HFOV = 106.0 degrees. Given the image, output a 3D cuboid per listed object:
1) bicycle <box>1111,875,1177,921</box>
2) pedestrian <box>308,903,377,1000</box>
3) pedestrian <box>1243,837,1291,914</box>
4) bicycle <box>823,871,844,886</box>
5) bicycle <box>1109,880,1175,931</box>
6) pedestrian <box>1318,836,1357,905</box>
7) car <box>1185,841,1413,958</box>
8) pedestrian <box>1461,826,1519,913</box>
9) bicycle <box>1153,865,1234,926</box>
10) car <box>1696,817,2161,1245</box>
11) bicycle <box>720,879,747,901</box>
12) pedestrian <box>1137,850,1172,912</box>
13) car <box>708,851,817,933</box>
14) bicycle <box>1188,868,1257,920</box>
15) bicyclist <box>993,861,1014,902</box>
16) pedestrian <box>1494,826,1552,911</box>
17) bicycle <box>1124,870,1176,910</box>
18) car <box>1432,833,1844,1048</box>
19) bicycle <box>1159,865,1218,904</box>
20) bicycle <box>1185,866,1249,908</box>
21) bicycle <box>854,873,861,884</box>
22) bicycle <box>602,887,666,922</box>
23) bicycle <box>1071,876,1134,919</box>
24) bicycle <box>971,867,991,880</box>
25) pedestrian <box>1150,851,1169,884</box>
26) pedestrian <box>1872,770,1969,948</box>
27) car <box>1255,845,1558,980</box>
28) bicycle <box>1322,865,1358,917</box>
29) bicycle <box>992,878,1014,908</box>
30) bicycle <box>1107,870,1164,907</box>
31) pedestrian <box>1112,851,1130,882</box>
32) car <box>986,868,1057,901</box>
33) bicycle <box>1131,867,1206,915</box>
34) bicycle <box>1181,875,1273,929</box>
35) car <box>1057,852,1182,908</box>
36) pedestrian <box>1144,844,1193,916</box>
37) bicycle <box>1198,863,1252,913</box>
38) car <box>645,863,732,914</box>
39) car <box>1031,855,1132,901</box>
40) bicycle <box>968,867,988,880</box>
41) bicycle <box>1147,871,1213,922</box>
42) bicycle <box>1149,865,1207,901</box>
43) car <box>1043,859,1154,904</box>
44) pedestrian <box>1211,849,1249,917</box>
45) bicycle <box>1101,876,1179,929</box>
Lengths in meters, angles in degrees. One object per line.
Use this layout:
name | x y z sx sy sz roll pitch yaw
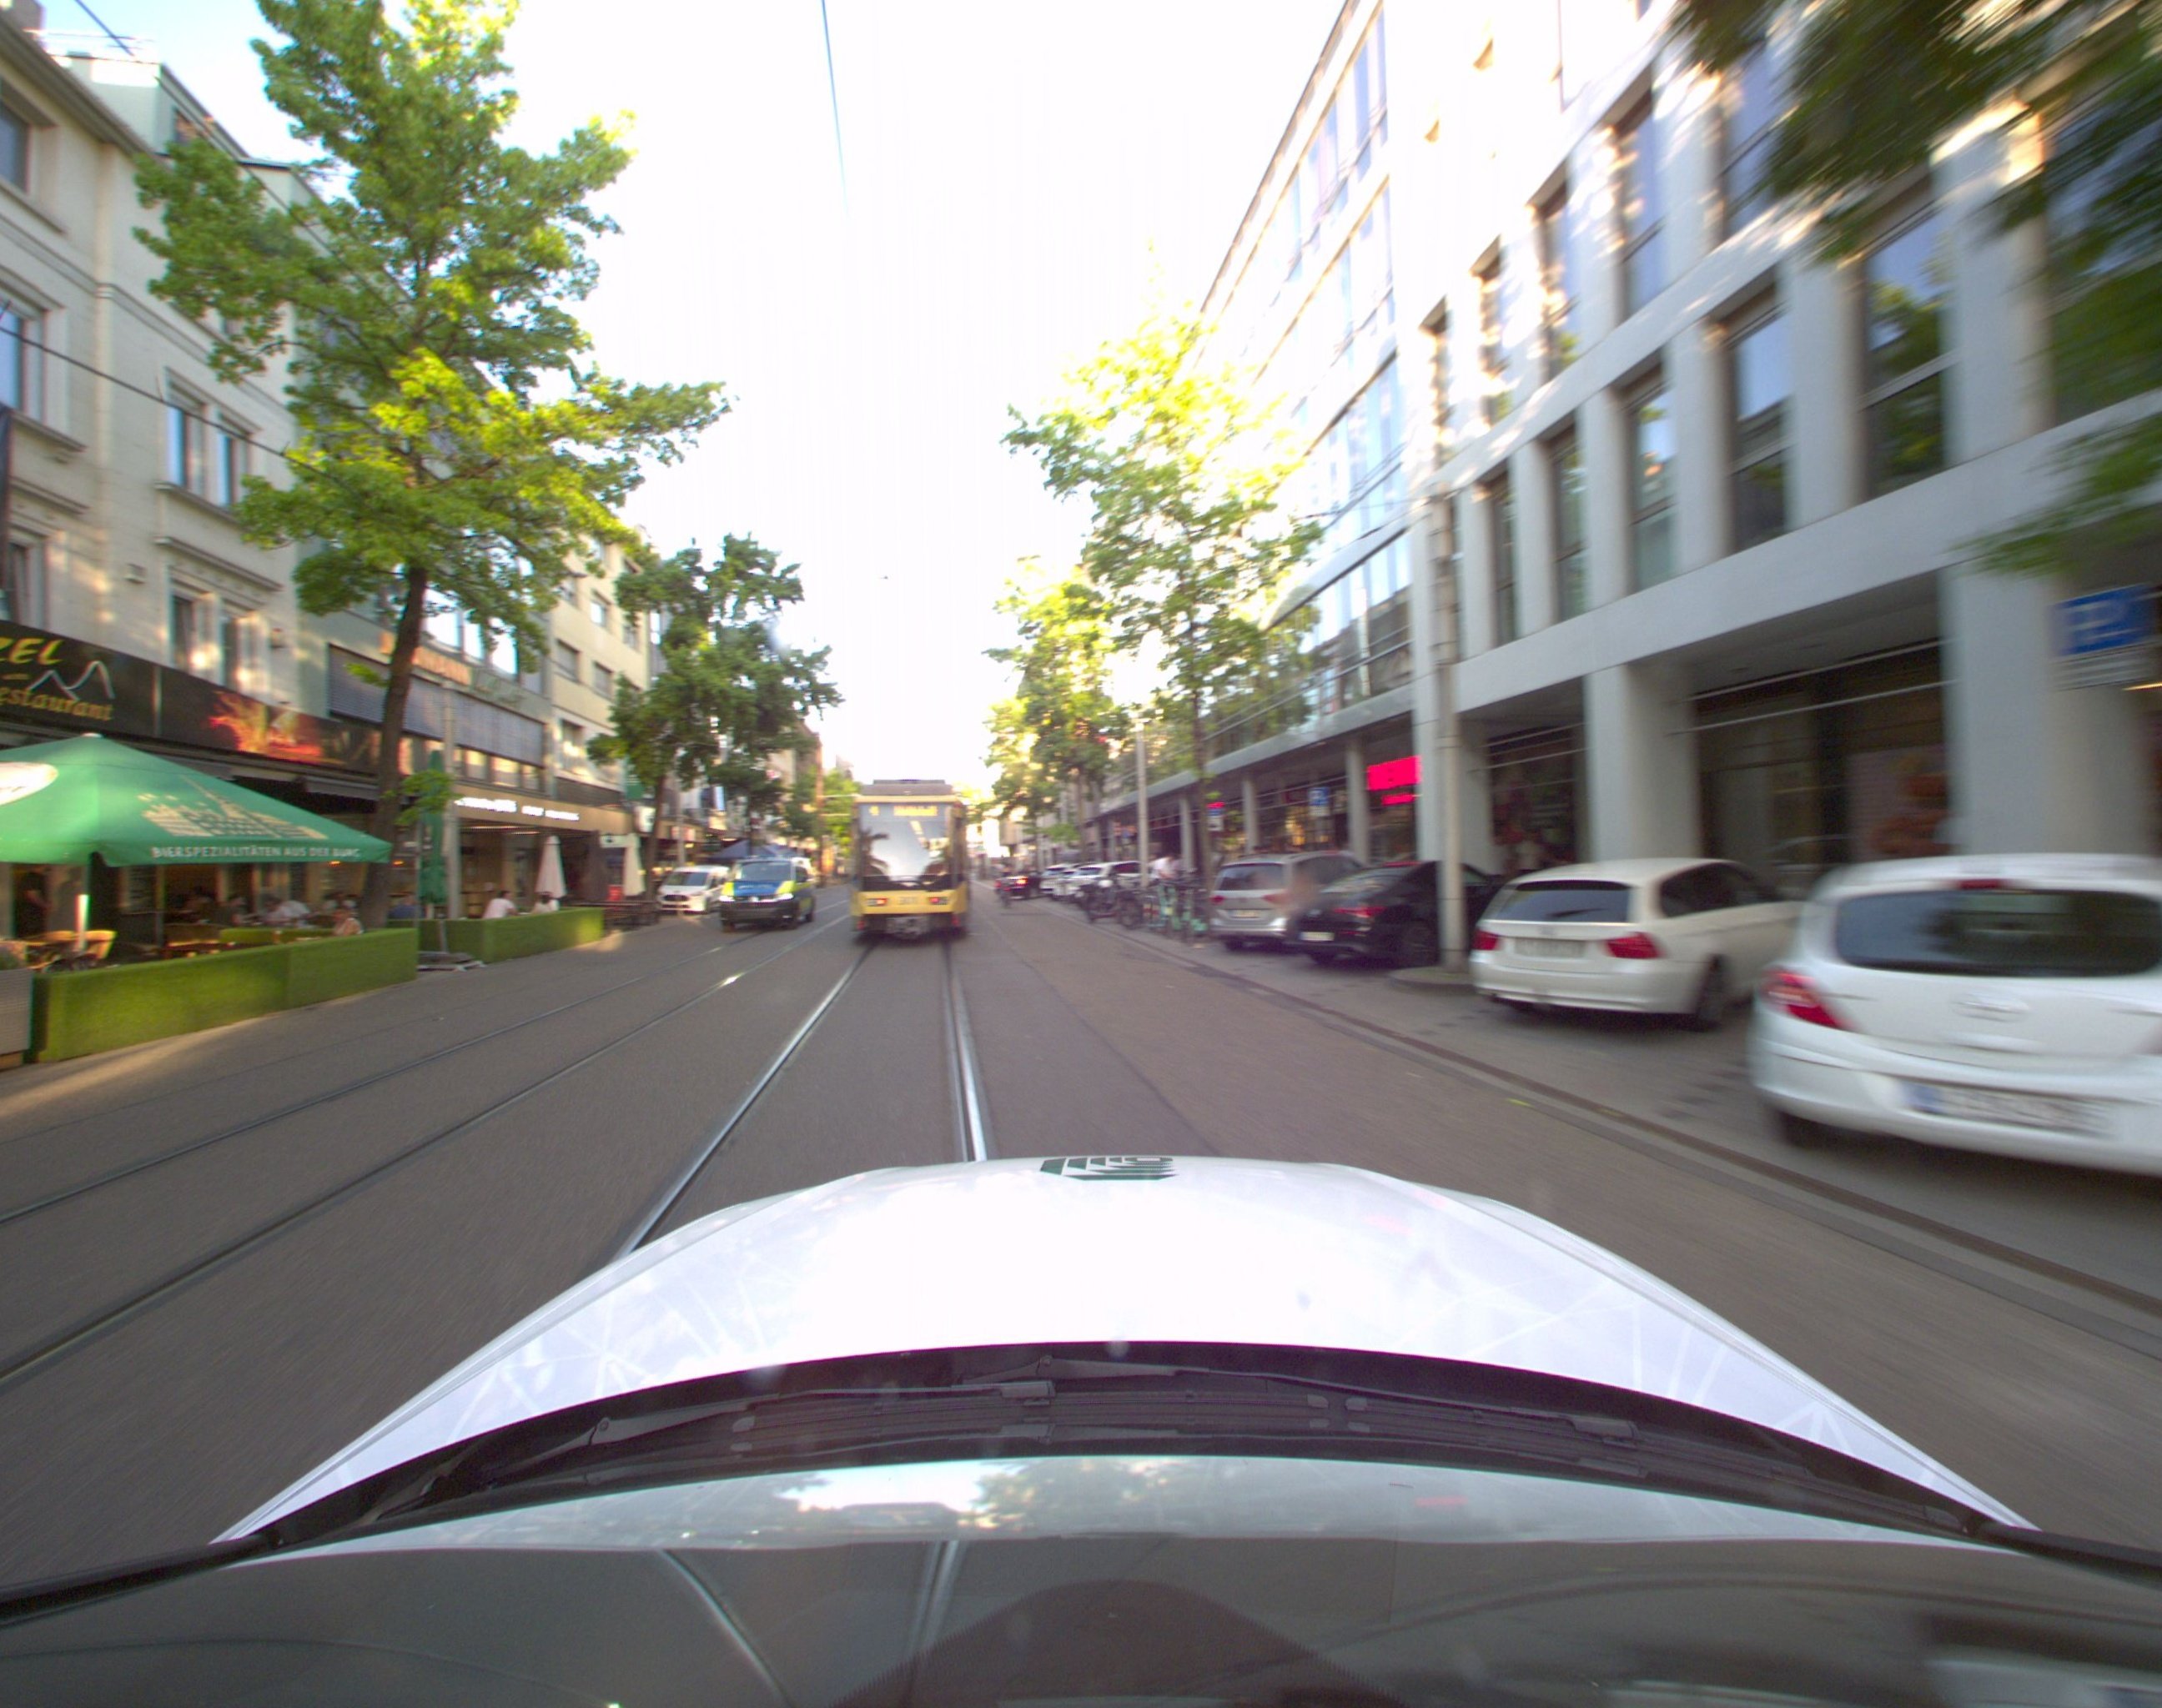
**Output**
bicycle | 1.732 1.181 22.178 1.844 1.076 0.616 -5 1 -43
pedestrian | -11.089 1.442 12.242 0.547 1.378 0.562 -1 -2 -10
pedestrian | 4.610 0.517 20.202 0.876 1.812 0.943 -4 0 24
bicycle | -23.580 2.331 77.575 1.805 1.360 0.655 2 -3 -23
bicycle | 1.513 1.236 19.989 1.758 1.076 0.488 -4 0 -41
pedestrian | 6.033 0.393 19.179 0.755 1.572 0.633 -3 -1 11
car | 4.151 0.731 14.968 1.930 1.640 4.704 -4 0 44
pedestrian | 8.269 0.300 16.498 0.680 1.699 0.802 -1 0 -11
bicycle | 2.717 0.977 19.677 1.839 1.273 0.674 -4 1 -30
car | 5.328 0.659 4.797 4.090 1.501 1.775 -4 -1 -40
bicycle | -18.197 1.872 42.624 0.818 1.103 2.141 -1 0 -37
pedestrian | 2.244 0.820 24.795 0.592 1.812 0.824 -3 2 41
car | -8.682 0.981 22.638 1.995 1.976 4.830 -2 -1 -12
bicycle | 3.584 1.001 20.588 1.699 1.149 0.497 -4 1 -26
bicyclist | -2.925 1.023 30.549 0.727 1.527 0.731 0 -2 -11
pedestrian | 9.026 0.284 16.655 0.680 1.699 0.802 -1 0 -11
bicycle | 2.136 1.112 25.185 1.605 1.033 0.547 -7 2 -41
car | 5.709 0.665 8.186 4.367 1.422 1.810 -4 0 -33
bicycle | 3.473 0.987 26.289 1.801 1.117 0.834 -3 0 -40
bicycle | 3.967 0.956 23.699 1.843 1.094 0.814 -3 0 -42
bicycle | -24.115 2.639 87.805 0.612 1.126 2.239 1 -2 -16
bicycle | -15.178 1.688 27.710 0.606 1.068 2.029 -2 -1 19
bicycle | 0.640 1.266 24.019 1.759 1.117 0.797 -3 0 -43
bicycle | -12.000 2.362 97.910 2.332 1.472 0.787 -1 -2 -15
pedestrian | 3.917 0.682 40.872 0.596 1.616 1.018 -4 1 -11
pedestrian | 8.870 0.045 8.637 0.673 1.771 0.810 -1 0 44
car | 4.905 0.762 12.111 4.367 1.422 1.935 -4 0 -33
bicycle | 6.030 0.837 19.035 0.568 1.083 1.890 -4 0 12
bicycle | -2.936 1.429 30.608 0.656 1.060 2.050 0 -1 -10
bicycle | 1.839 1.137 27.111 0.907 1.117 1.760 -4 -1 45
pedestrian | 2.466 0.741 50.031 0.833 1.836 0.940 -3 0 -11
car | -2.799 1.408 39.182 1.787 1.348 4.467 -2 0 18
bicycle | 2.471 1.020 22.883 2.006 1.148 0.691 -4 1 -29
bicycle | 3.141 1.037 17.657 1.856 1.076 0.635 -3 1 44
car | 1.446 0.898 28.995 4.369 1.563 1.854 -5 0 -44
pedestrian | 2.470 0.705 22.940 0.953 1.913 0.856 -5 1 -23
bicycle | 3.857 0.892 21.750 0.548 1.189 1.706 -3 1 41
car | -15.149 1.309 31.706 1.793 1.818 4.501 0 -2 -9
car | 0.051 1.040 36.184 4.232 1.637 1.897 -5 0 -43
bicycle | -12.879 2.427 101.891 2.332 1.472 0.787 -1 -2 -15
bicycle | 2.561 1.074 20.973 1.693 1.138 0.474 -4 1 -31
bicycle | 3.327 0.998 27.979 1.757 1.117 0.926 -3 -1 -35
car | 0.763 1.100 33.580 4.202 1.457 1.844 -5 0 -34
pedestrian | 3.706 0.712 20.234 0.697 1.624 0.664 -4 0 24
bicycle | 1.499 1.195 20.421 2.004 1.130 0.672 -4 1 -41
